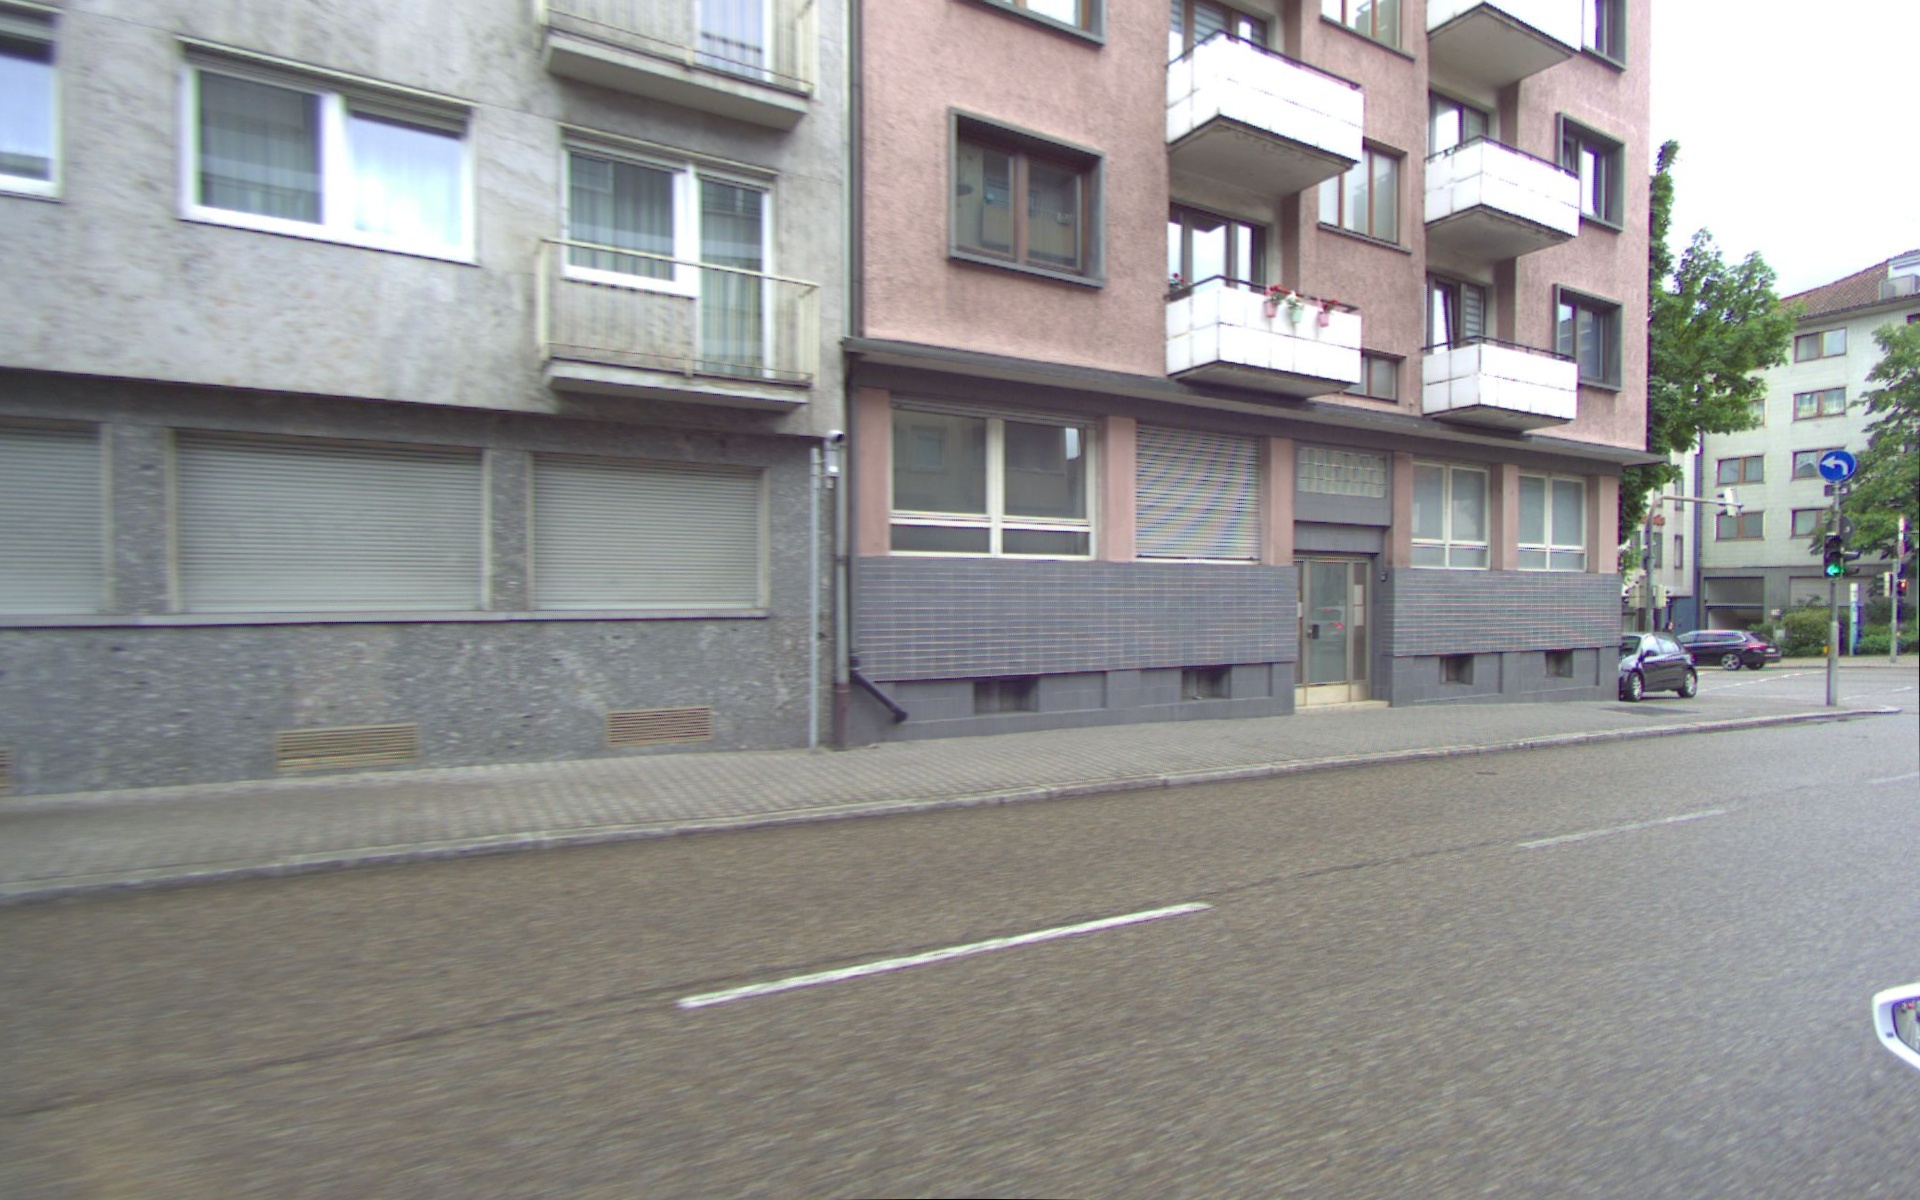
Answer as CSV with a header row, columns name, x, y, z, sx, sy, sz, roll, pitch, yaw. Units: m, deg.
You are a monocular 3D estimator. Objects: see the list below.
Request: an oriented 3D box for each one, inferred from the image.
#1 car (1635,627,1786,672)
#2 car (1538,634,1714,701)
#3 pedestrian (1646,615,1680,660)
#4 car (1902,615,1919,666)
name,x,y,z,sx,sy,sz,roll,pitch,yaw
car,27.965,1.806,37.571,1.700,1.472,4.246,1,0,-25
car,14.938,1.473,22.502,3.954,1.377,1.724,1,-3,-31
pedestrian,29.986,1.569,42.828,0.740,1.842,0.917,-3,1,-1
car,31.377,1.223,30.128,1.990,1.621,4.258,0,-1,-8
